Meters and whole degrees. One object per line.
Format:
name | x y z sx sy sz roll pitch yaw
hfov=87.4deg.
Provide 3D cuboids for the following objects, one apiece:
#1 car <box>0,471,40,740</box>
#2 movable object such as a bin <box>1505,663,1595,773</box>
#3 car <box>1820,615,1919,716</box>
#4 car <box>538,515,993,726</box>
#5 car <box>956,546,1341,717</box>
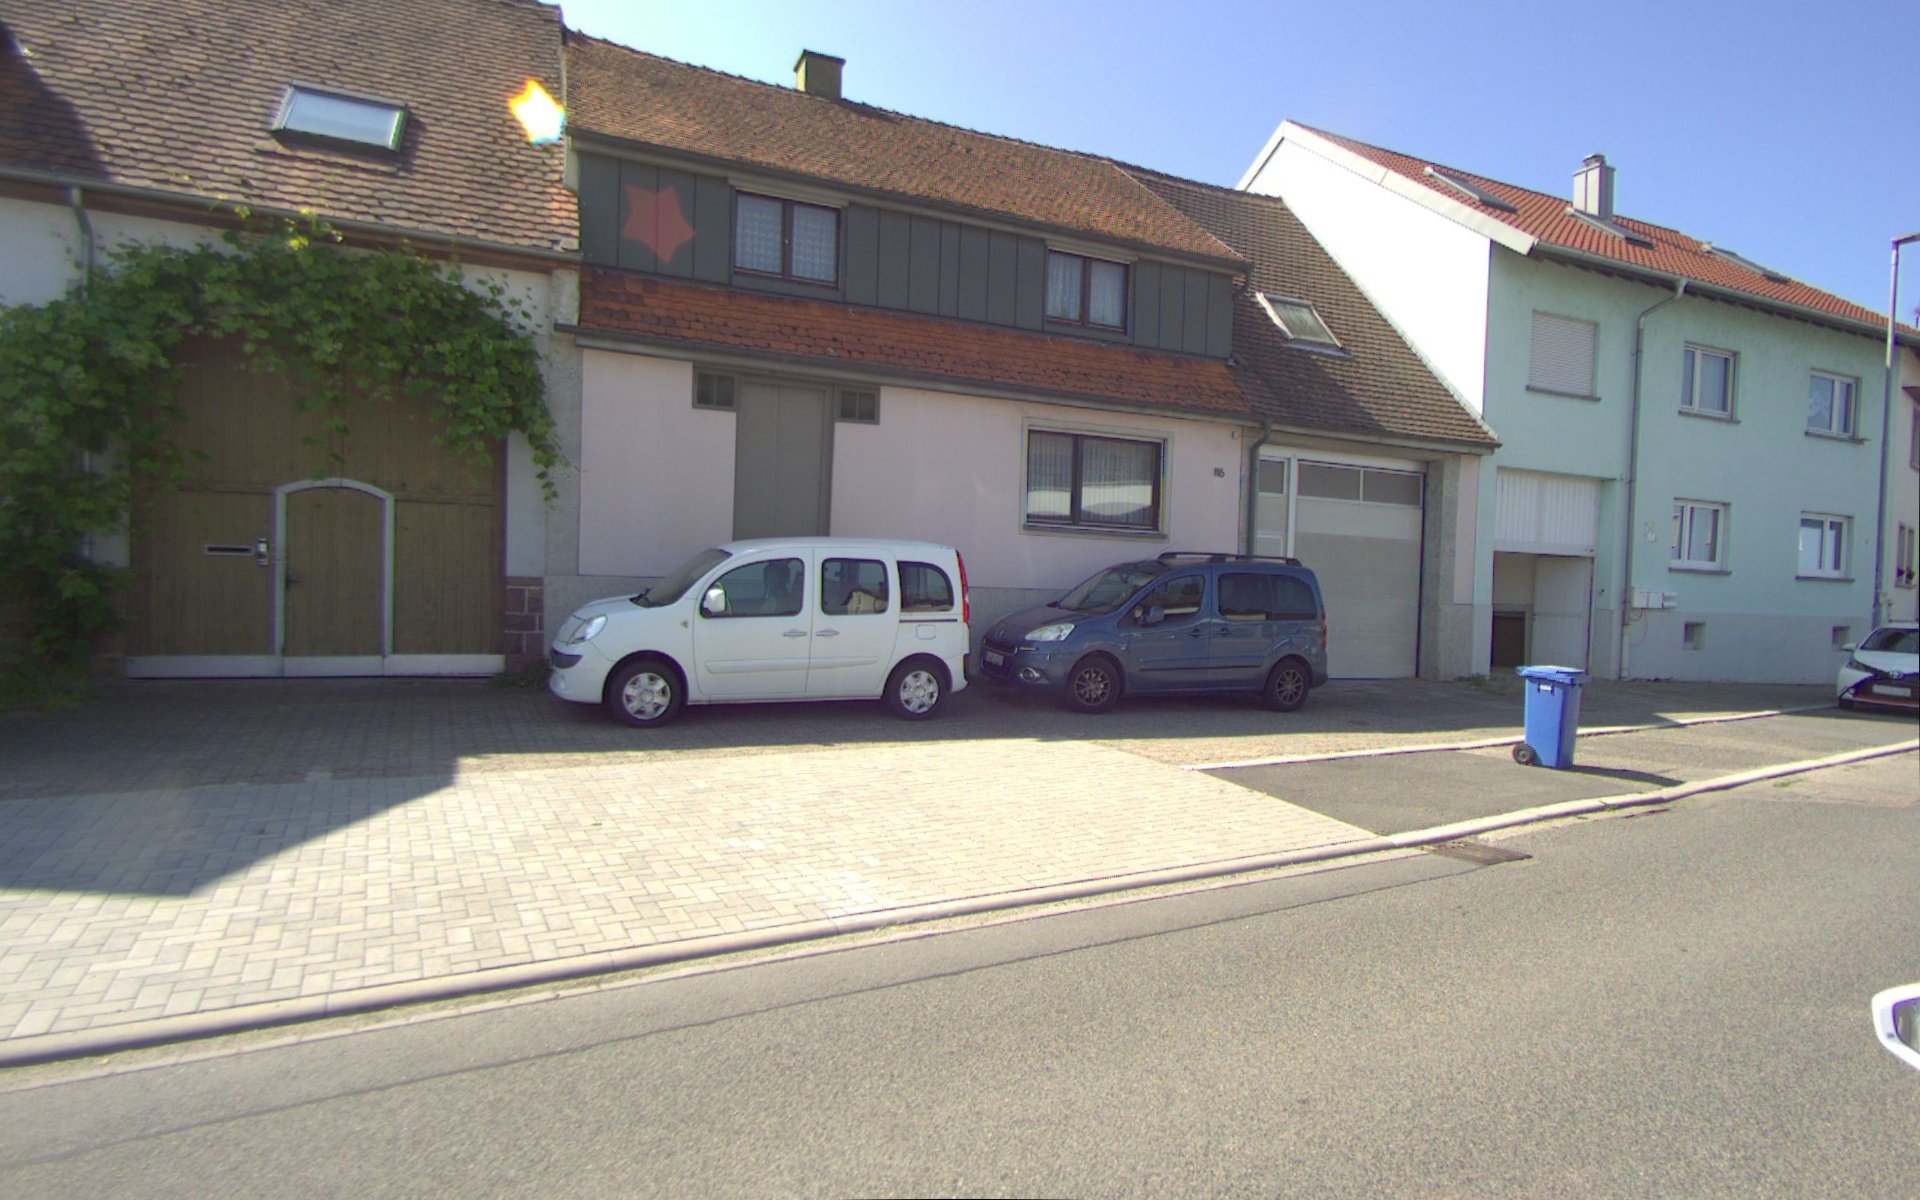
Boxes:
car | -9.301 -0.025 6.006 5.204 2.013 2.115 2 1 -31
movable object such as a bin | 5.640 1.109 9.605 0.510 0.949 0.553 1 3 -39
car | 15.952 1.067 16.711 3.614 1.481 1.672 2 1 -36
car | -2.009 0.217 10.340 4.218 1.798 1.962 2 1 -25
car | 2.303 0.356 12.393 4.279 1.817 1.833 2 3 -21
